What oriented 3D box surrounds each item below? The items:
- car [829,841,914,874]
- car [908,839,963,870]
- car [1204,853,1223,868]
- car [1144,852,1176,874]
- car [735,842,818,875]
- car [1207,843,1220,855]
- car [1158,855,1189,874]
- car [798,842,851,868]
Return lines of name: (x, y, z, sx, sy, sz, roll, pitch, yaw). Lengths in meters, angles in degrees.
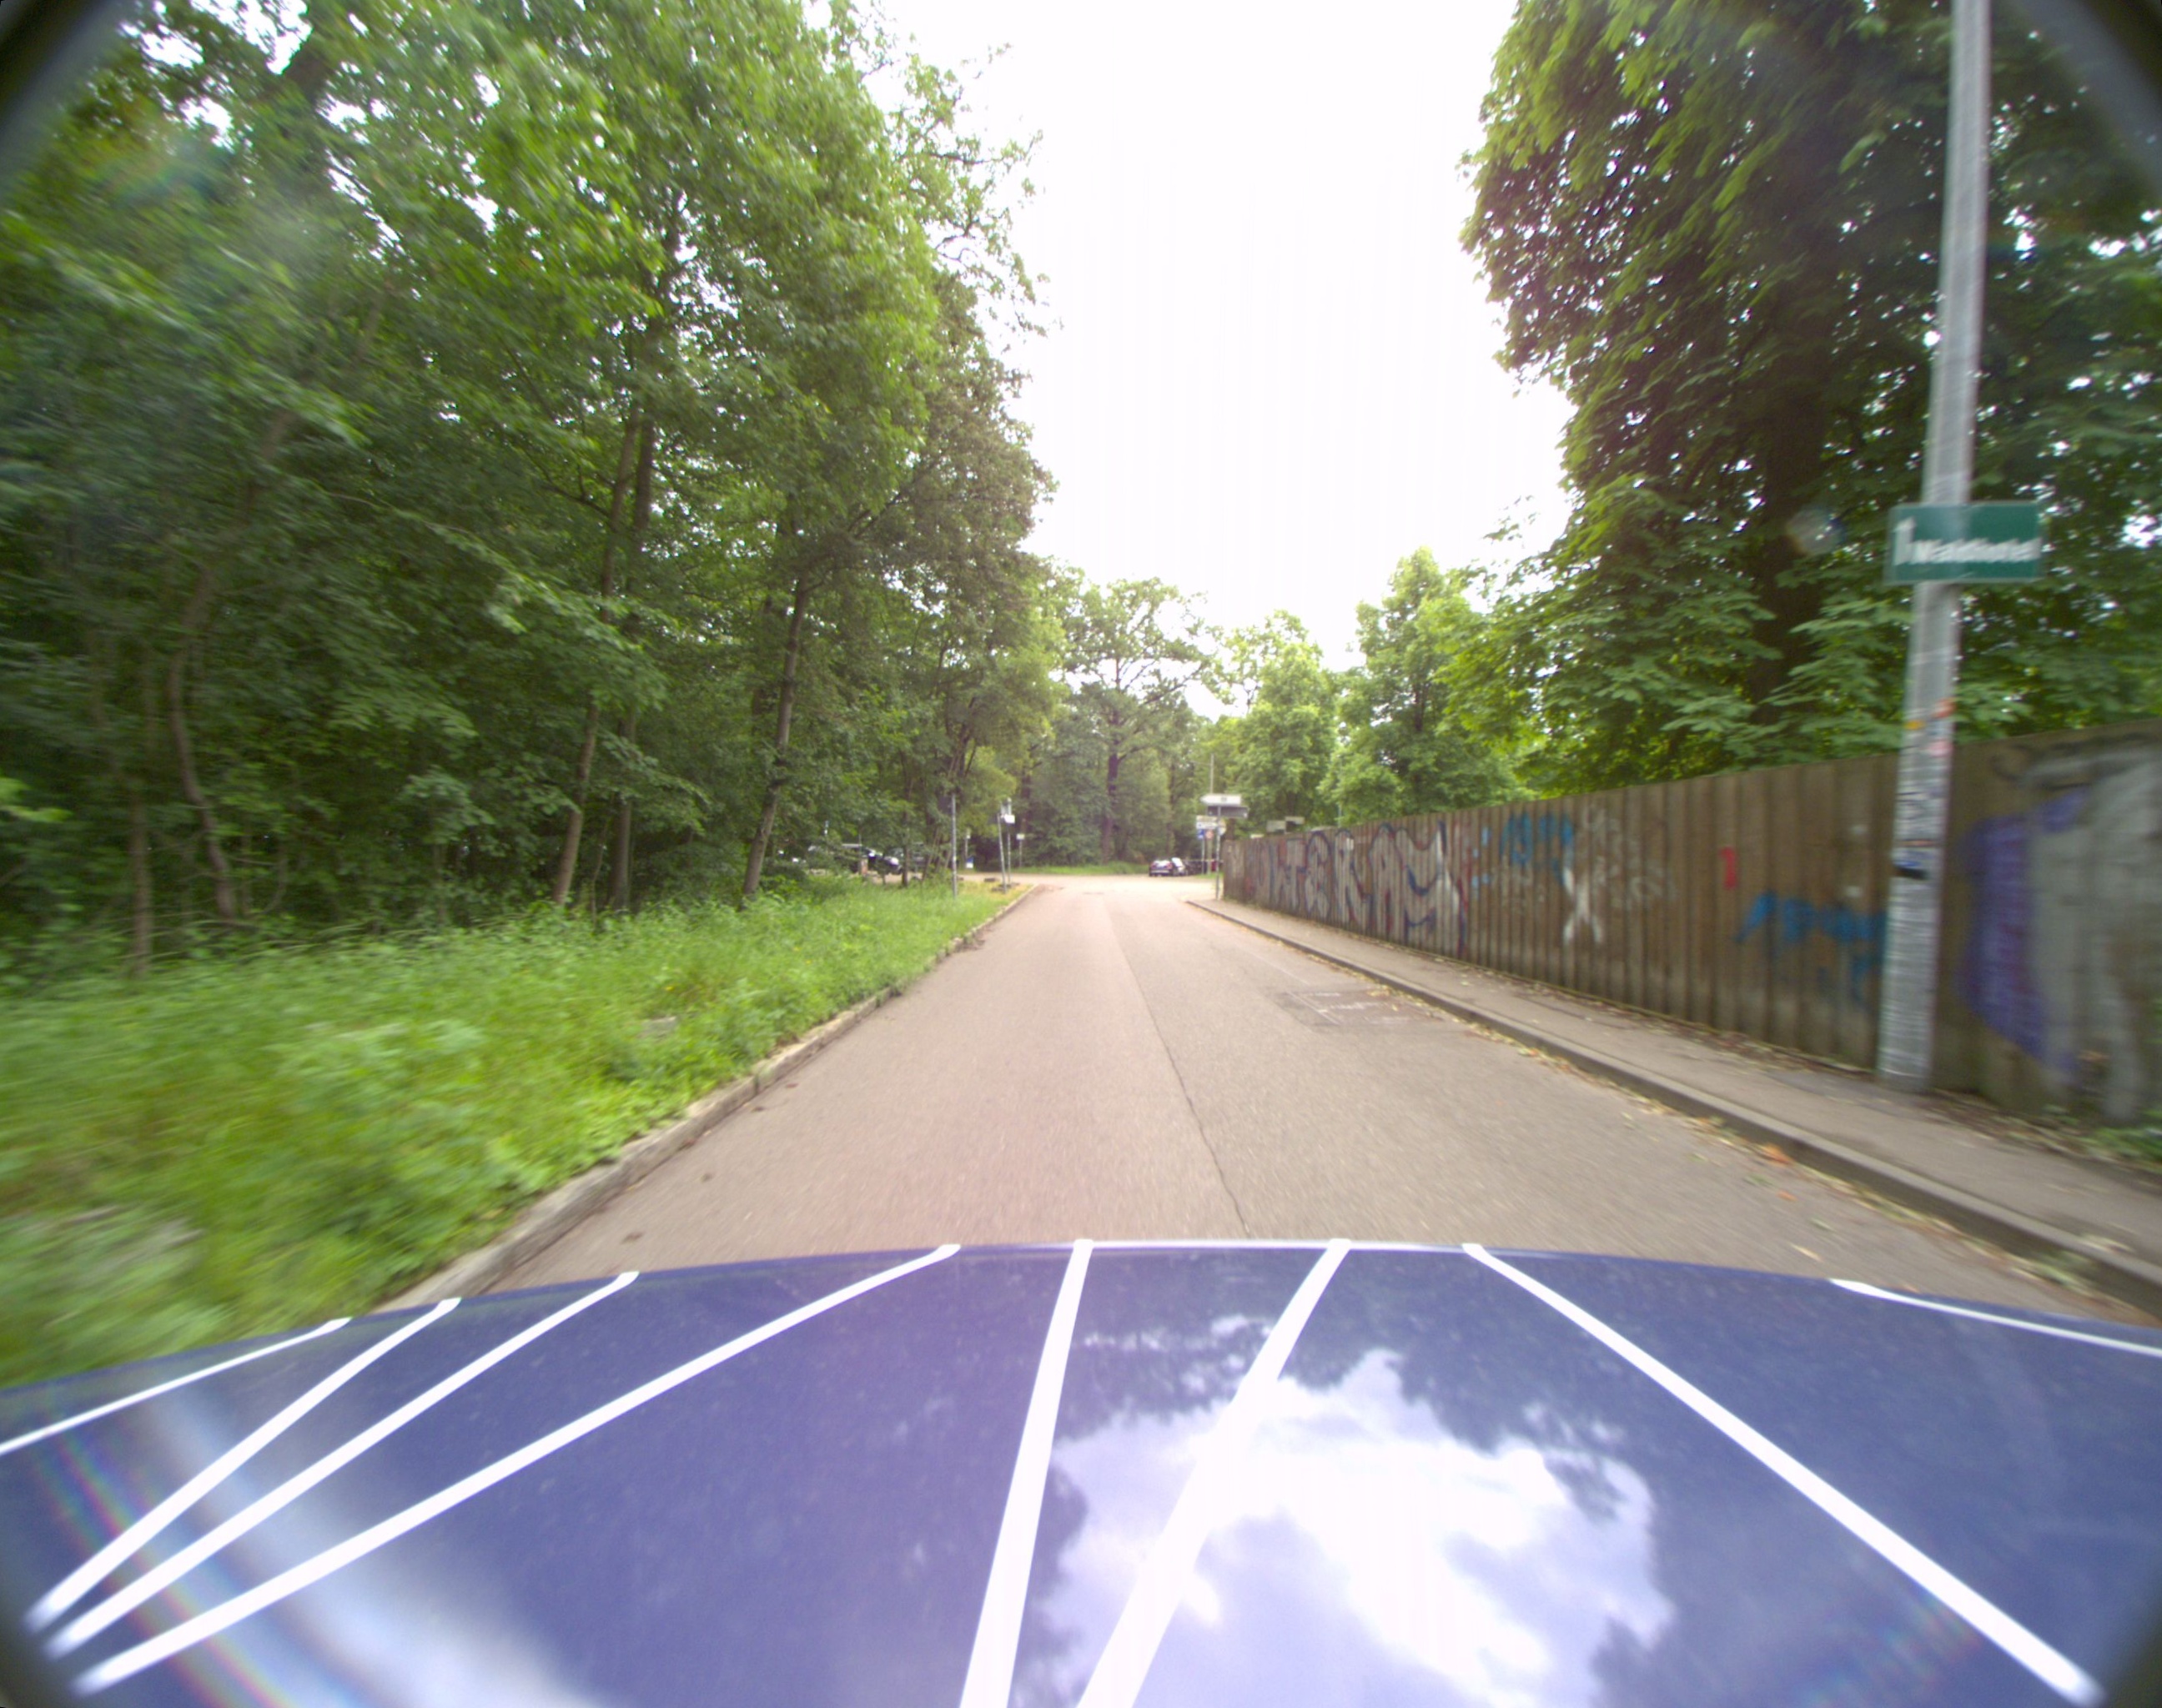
car: (-11.446, 0.165, 41.669, 4.092, 1.624, 1.817, 2, 2, 11)
car: (-9.636, 0.046, 50.613, 1.887, 1.966, 4.522, 1, 0, 13)
car: (14.814, 0.699, 85.009, 1.955, 1.609, 3.641, 2, 1, 10)
car: (5.711, 0.657, 54.323, 1.769, 1.485, 4.332, 0, -1, 13)
car: (-17.172, 0.227, 42.909, 3.991, 1.624, 1.816, 2, 2, 11)
car: (28.045, -1.140, 161.139, 2.577, 2.520, 4.939, 1, 1, 11)
car: (7.228, 0.857, 59.054, 1.996, 1.411, 4.005, 0, -1, 13)
car: (-17.597, 0.059, 52.273, 1.821, 1.755, 4.003, 1, 0, 9)
